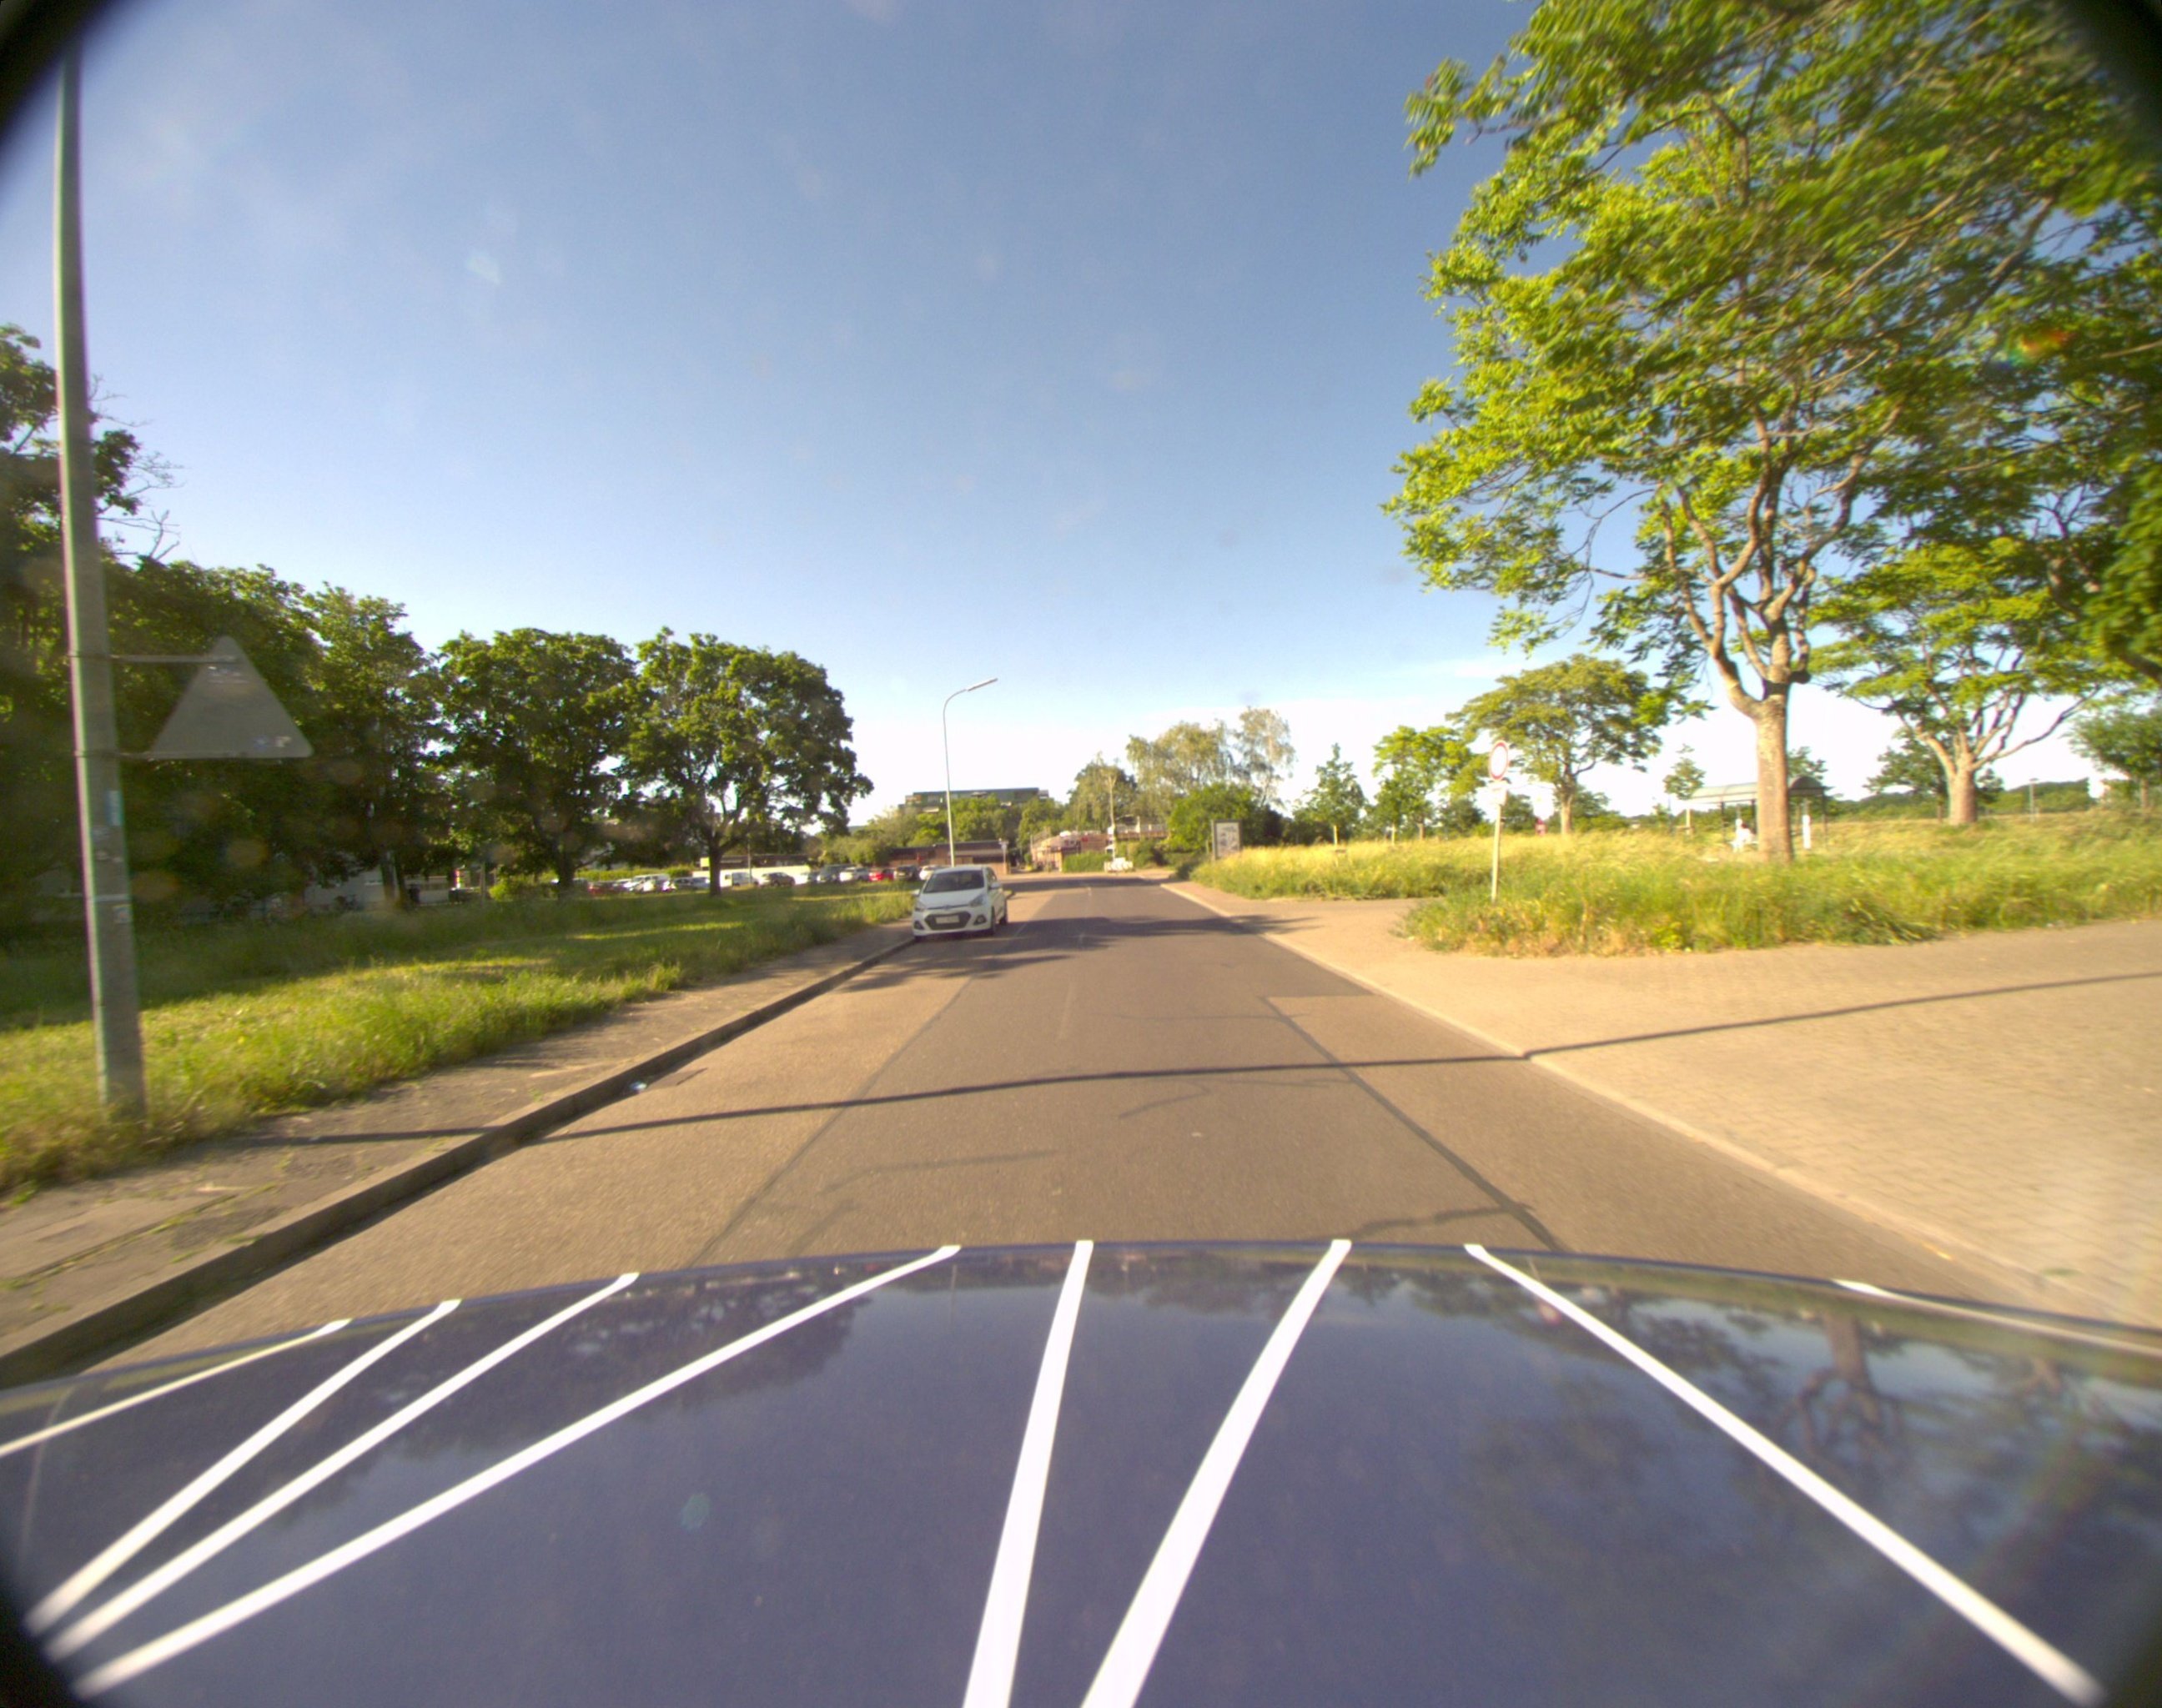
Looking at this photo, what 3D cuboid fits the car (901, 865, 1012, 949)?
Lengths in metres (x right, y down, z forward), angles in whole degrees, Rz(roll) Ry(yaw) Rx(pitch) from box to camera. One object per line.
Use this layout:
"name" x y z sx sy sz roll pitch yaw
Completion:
"car" -2.630 1.071 16.875 1.656 1.471 3.916 -5 0 1

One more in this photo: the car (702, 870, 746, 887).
"car" -36.848 2.500 78.536 1.953 1.552 4.004 -2 0 15

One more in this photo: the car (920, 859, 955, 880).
"car" -13.510 1.437 71.799 1.954 1.849 4.002 -2 0 9

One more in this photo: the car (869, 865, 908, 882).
"car" -18.515 1.874 73.294 1.862 1.461 4.004 -2 0 15

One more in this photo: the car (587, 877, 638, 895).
"car" -42.646 2.945 69.182 3.632 1.442 2.002 -2 0 18

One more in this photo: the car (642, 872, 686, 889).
"car" -44.380 2.774 80.913 1.798 1.552 4.004 -2 0 14

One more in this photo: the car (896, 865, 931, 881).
"car" -15.857 1.817 72.148 1.779 1.316 4.003 -2 0 11

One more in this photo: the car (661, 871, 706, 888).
"car" -41.926 2.677 80.243 1.953 1.552 4.004 -2 0 15

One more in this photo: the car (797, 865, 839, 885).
"car" -25.909 2.049 75.052 1.953 1.763 4.004 -2 0 15

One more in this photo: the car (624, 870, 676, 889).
"car" -46.538 2.743 82.074 1.953 1.735 4.709 -2 0 18

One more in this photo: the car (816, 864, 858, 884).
"car" -23.603 1.948 73.688 1.953 1.763 4.004 -2 0 15

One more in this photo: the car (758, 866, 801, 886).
"car" -30.386 2.192 76.716 1.953 1.763 4.003 -2 2 15

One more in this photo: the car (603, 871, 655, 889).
"car" -49.282 2.840 82.921 1.953 1.735 4.709 -2 0 18

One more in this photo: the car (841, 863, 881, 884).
"car" -21.116 1.857 73.067 1.858 1.763 4.004 -2 0 15

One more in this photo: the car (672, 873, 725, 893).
"car" -33.117 2.519 65.827 3.632 1.515 2.002 -2 0 18

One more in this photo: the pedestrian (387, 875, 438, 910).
"pedestrian" -41.085 2.362 46.739 1.490 2.019 1.699 -2 0 4

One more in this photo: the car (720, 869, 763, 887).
"car" -34.767 2.433 77.904 1.953 1.552 4.004 -2 0 15
